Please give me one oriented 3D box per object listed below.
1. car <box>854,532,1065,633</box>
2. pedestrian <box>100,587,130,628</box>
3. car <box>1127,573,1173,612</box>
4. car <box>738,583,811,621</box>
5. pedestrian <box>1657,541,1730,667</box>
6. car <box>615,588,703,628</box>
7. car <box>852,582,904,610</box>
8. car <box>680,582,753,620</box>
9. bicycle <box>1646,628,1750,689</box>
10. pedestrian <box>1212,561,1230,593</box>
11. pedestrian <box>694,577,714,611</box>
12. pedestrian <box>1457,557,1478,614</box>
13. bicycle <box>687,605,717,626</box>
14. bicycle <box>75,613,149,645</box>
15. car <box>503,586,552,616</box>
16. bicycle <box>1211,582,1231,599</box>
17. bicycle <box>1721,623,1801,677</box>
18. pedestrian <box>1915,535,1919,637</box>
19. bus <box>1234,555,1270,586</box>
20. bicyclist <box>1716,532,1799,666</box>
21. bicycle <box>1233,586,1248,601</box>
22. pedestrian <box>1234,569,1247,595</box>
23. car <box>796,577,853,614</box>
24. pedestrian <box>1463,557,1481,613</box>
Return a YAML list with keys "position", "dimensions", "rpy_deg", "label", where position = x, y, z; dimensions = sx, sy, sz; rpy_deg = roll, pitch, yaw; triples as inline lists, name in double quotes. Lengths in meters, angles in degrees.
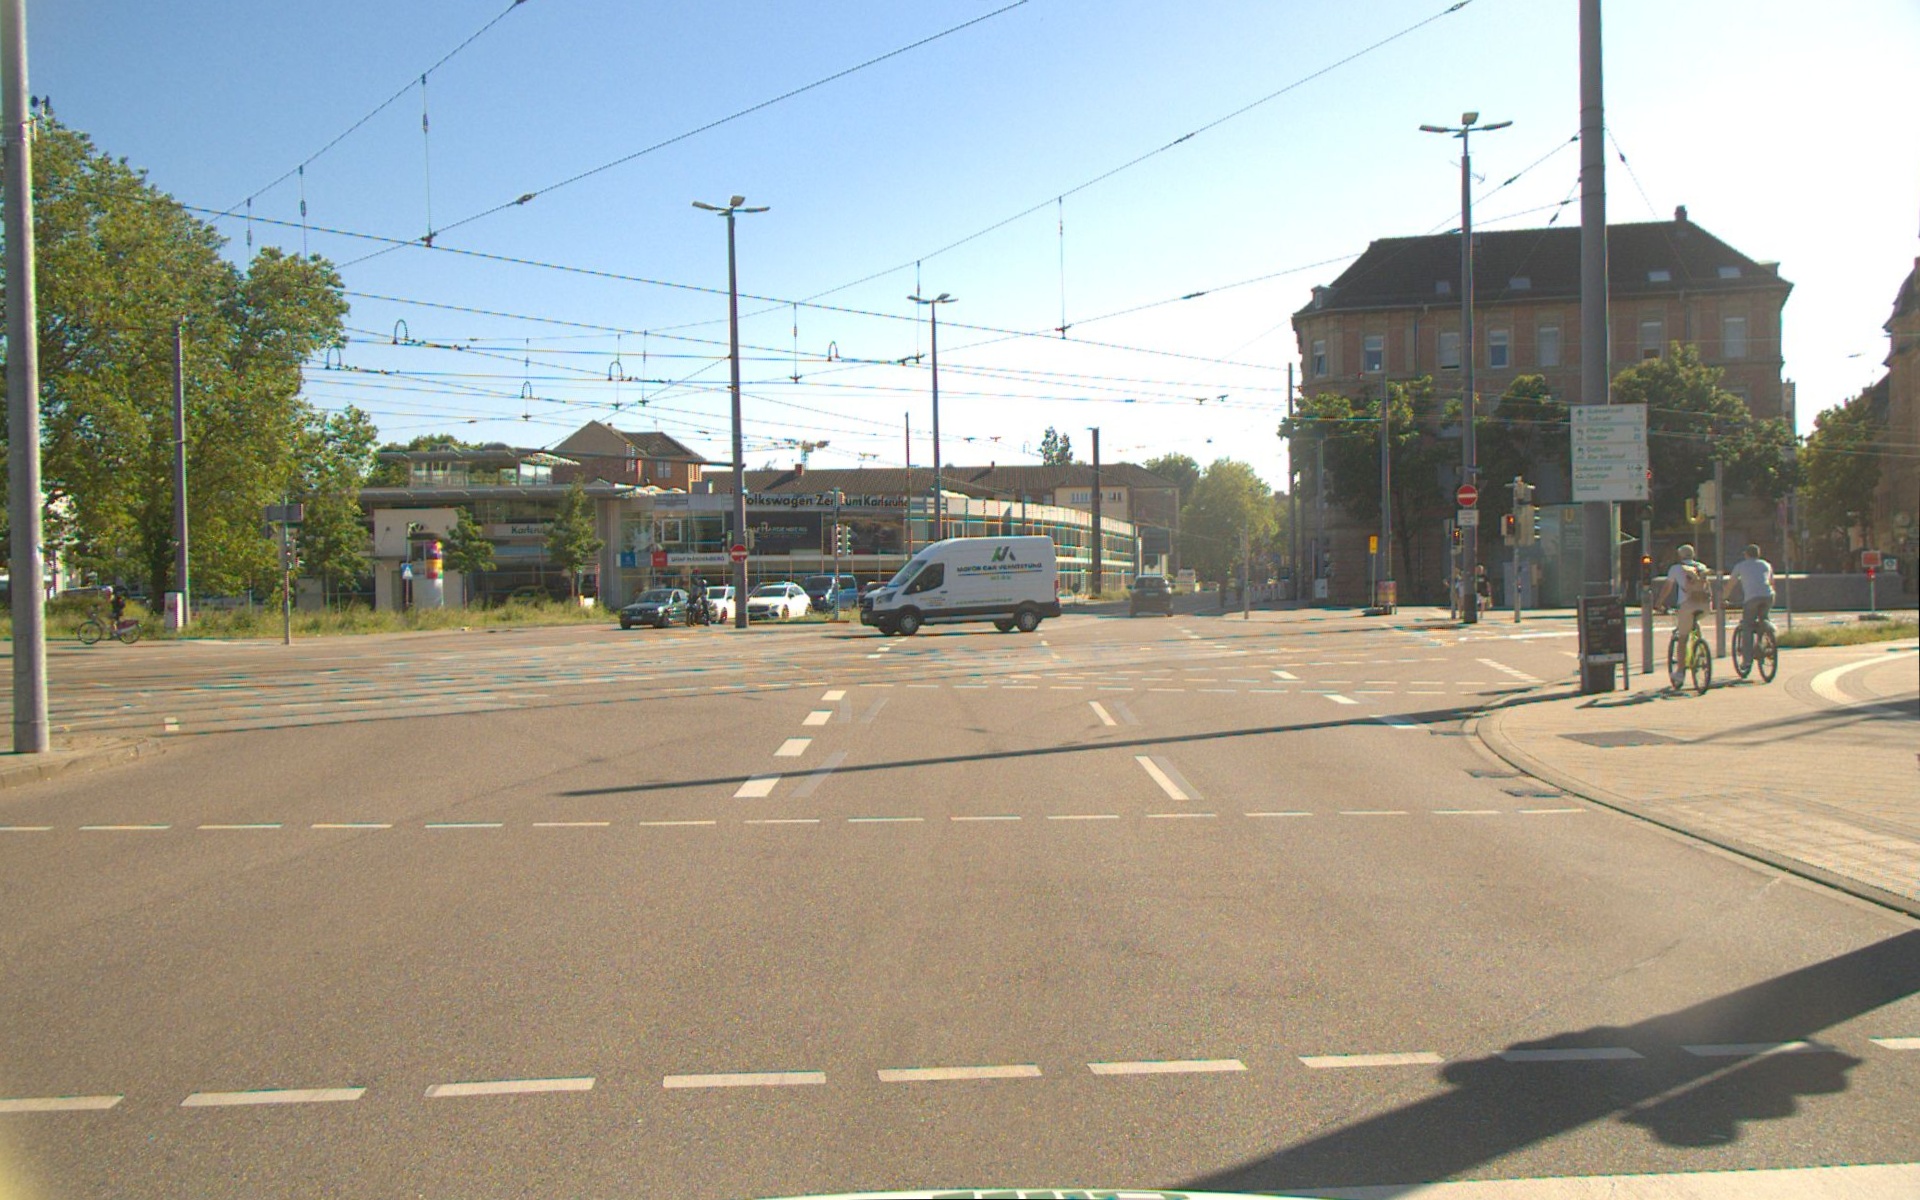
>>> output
- position: [-0.012, -0.542, 48.368]
  dimensions: [5.818, 2.792, 2.132]
  rpy_deg: [-1, 0, -20]
  label: "car"
- position: [-25.673, 0.234, 50.247]
  dimensions: [0.785, 1.225, 0.555]
  rpy_deg: [-1, 0, -28]
  label: "pedestrian"
- position: [7.850, -0.314, 68.644]
  dimensions: [1.663, 1.529, 4.267]
  rpy_deg: [-1, 1, 4]
  label: "car"
- position: [-7.235, 0.069, 64.830]
  dimensions: [1.591, 1.406, 3.741]
  rpy_deg: [-1, 1, 14]
  label: "car"
- position: [9.468, 0.052, 21.382]
  dimensions: [0.537, 1.590, 0.858]
  rpy_deg: [-1, 0, -1]
  label: "pedestrian"
- position: [-11.011, 0.271, 60.700]
  dimensions: [1.667, 1.378, 3.703]
  rpy_deg: [-1, 1, 16]
  label: "car"
- position: [-4.246, -0.208, 86.020]
  dimensions: [1.591, 1.388, 3.688]
  rpy_deg: [-1, 1, 16]
  label: "car"
- position: [-9.788, 0.036, 66.674]
  dimensions: [1.591, 1.448, 3.689]
  rpy_deg: [-1, 1, 14]
  label: "car"
- position: [9.549, 0.747, 21.462]
  dimensions: [0.526, 0.667, 1.725]
  rpy_deg: [-4, 1, -1]
  label: "bicycle"
- position: [13.581, -1.177, 86.083]
  dimensions: [0.786, 1.660, 0.718]
  rpy_deg: [-1, 0, 17]
  label: "pedestrian"
- position: [-9.339, -0.209, 60.400]
  dimensions: [0.413, 1.225, 0.750]
  rpy_deg: [-1, 0, 16]
  label: "pedestrian"
- position: [18.494, -0.518, 60.277]
  dimensions: [0.564, 2.049, 0.449]
  rpy_deg: [-1, 1, -19]
  label: "pedestrian"
- position: [-9.382, 0.558, 60.204]
  dimensions: [0.413, 0.730, 1.636]
  rpy_deg: [-1, 1, 16]
  label: "bicycle"
- position: [-25.731, 0.872, 50.213]
  dimensions: [1.982, 0.929, 0.557]
  rpy_deg: [-1, 0, -28]
  label: "bicycle"
- position: [-25.975, 0.038, 99.475]
  dimensions: [1.926, 1.735, 4.083]
  rpy_deg: [-1, 1, -1]
  label: "car"
- position: [13.519, -0.501, 85.671]
  dimensions: [0.727, 0.885, 1.932]
  rpy_deg: [-1, 0, 17]
  label: "bicycle"
- position: [11.115, 0.689, 22.993]
  dimensions: [0.525, 0.667, 1.469]
  rpy_deg: [-2, 1, 6]
  label: "bicycle"
- position: [18.292, -0.266, 30.710]
  dimensions: [0.880, 1.892, 0.924]
  rpy_deg: [-1, 0, 34]
  label: "pedestrian"
- position: [39.081, -3.873, 220.696]
  dimensions: [3.755, 3.670, 24.887]
  rpy_deg: [1, 0, 12]
  label: "bus"
- position: [11.092, -0.015, 23.038]
  dimensions: [0.731, 1.809, 0.925]
  rpy_deg: [-2, 0, 6]
  label: "bicyclist"
- position: [17.112, -0.380, 100.741]
  dimensions: [0.727, 0.885, 1.933]
  rpy_deg: [-1, 0, 14]
  label: "bicycle"
- position: [17.075, -1.115, 100.633]
  dimensions: [0.730, 1.549, 0.719]
  rpy_deg: [-1, 0, 14]
  label: "pedestrian"
- position: [-6.424, -0.244, 78.860]
  dimensions: [1.591, 1.722, 3.689]
  rpy_deg: [-1, 1, 14]
  label: "car"
- position: [18.877, -0.543, 60.953]
  dimensions: [0.453, 2.049, 0.449]
  rpy_deg: [-1, 1, -18]
  label: "pedestrian"
